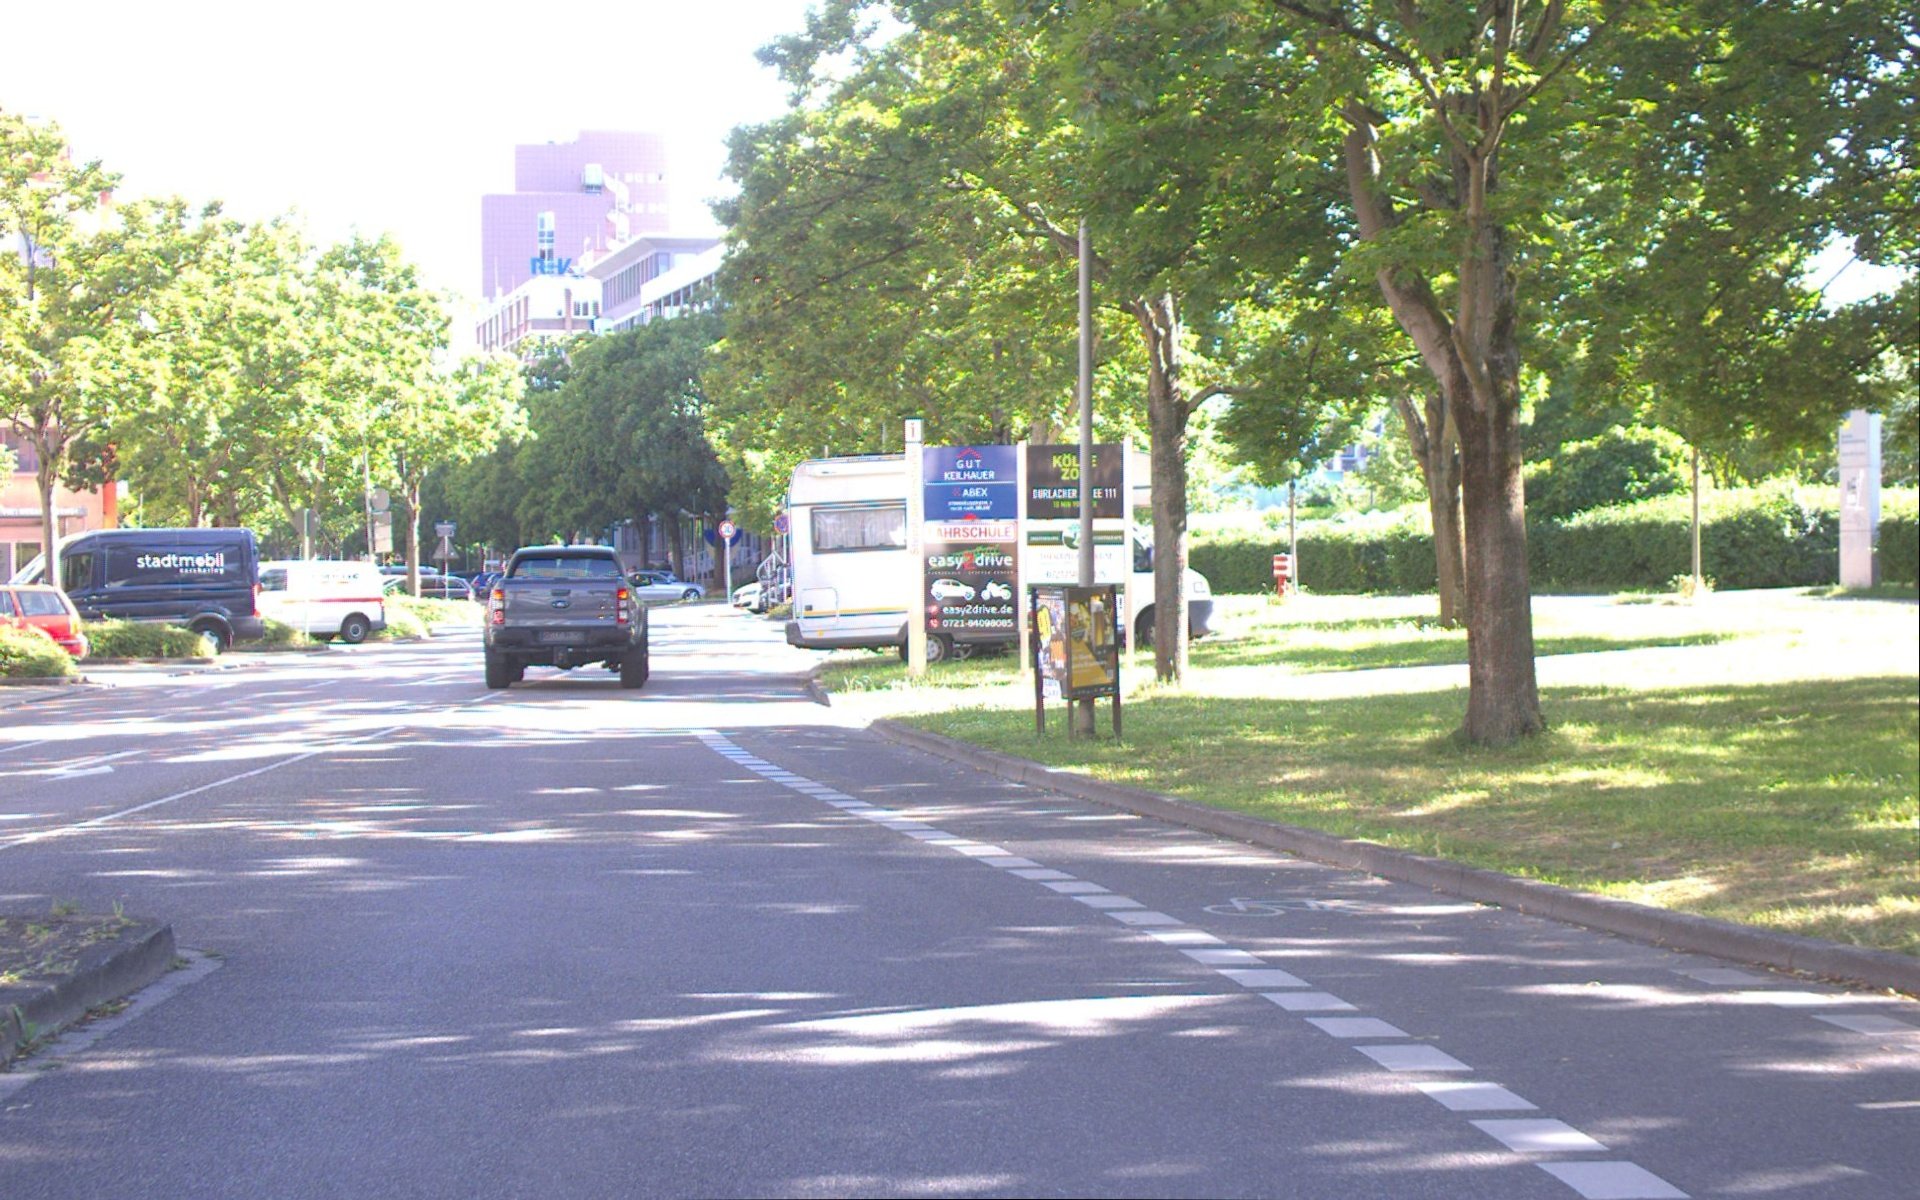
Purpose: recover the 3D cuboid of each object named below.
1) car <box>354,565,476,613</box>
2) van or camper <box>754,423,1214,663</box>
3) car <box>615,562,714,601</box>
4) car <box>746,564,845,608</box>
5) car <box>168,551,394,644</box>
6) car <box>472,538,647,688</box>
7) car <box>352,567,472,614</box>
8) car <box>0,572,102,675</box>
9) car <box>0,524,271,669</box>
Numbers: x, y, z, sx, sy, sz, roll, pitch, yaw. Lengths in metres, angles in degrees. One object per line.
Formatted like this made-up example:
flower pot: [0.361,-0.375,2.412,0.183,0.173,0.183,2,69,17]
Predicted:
car: [-18.151,-0.380,114.423,3.882,1.360,1.410,-3,1,-11]
van or camper: [0.271,-0.785,47.689,6.078,2.918,2.576,-3,1,-3]
car: [-12.453,-0.774,144.677,3.946,1.392,1.517,-3,1,-11]
car: [-5.499,-0.470,114.806,3.243,1.273,1.516,-3,1,-3]
car: [-16.245,-0.075,82.316,4.885,2.076,1.985,-2,1,-37]
car: [-5.322,0.119,45.246,2.132,1.829,4.942,-1,1,-8]
car: [-18.529,-0.313,116.161,3.882,1.360,1.410,-3,1,-11]
car: [-15.786,0.390,53.440,4.406,1.547,1.922,-2,1,-27]
car: [-15.726,-0.083,64.098,5.260,2.537,1.986,-2,1,-27]
